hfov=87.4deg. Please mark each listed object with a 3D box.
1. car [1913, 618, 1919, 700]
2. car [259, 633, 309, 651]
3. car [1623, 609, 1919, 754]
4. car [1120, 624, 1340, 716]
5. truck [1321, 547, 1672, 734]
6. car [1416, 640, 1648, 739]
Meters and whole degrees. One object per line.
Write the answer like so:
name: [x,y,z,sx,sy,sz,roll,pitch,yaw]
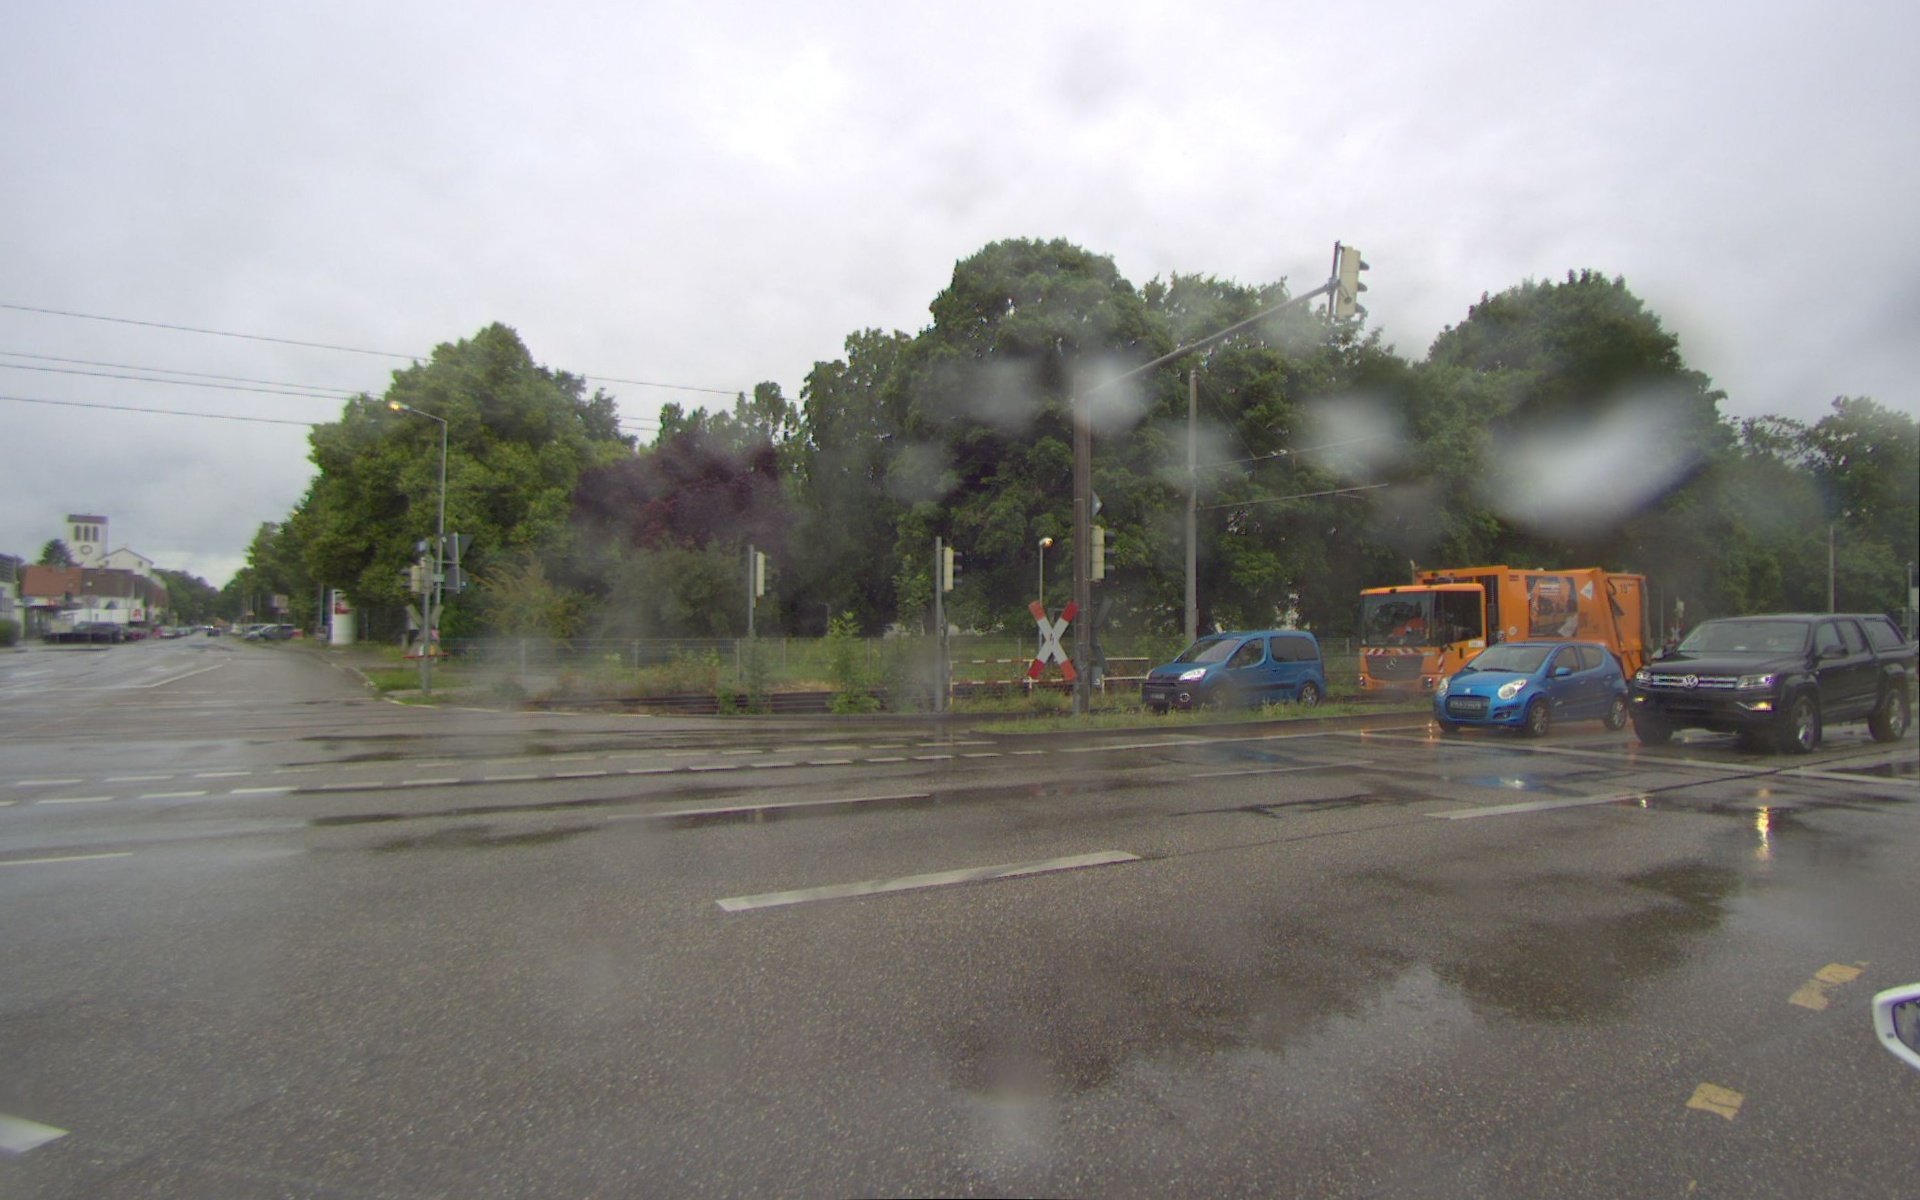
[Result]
car: [20.812,1.166,19.831,4.378,1.590,1.792,2,-4,-31]
car: [-66.711,4.149,99.118,3.962,1.726,1.856,2,0,-37]
car: [11.884,1.094,14.533,5.030,1.796,1.797,1,-3,-31]
car: [5.847,1.457,21.648,4.472,1.732,1.985,2,0,-29]
truck: [14.545,1.042,26.862,10.285,4.223,3.368,2,0,-30]
car: [9.411,1.404,16.464,3.956,1.446,1.632,2,-4,-33]
